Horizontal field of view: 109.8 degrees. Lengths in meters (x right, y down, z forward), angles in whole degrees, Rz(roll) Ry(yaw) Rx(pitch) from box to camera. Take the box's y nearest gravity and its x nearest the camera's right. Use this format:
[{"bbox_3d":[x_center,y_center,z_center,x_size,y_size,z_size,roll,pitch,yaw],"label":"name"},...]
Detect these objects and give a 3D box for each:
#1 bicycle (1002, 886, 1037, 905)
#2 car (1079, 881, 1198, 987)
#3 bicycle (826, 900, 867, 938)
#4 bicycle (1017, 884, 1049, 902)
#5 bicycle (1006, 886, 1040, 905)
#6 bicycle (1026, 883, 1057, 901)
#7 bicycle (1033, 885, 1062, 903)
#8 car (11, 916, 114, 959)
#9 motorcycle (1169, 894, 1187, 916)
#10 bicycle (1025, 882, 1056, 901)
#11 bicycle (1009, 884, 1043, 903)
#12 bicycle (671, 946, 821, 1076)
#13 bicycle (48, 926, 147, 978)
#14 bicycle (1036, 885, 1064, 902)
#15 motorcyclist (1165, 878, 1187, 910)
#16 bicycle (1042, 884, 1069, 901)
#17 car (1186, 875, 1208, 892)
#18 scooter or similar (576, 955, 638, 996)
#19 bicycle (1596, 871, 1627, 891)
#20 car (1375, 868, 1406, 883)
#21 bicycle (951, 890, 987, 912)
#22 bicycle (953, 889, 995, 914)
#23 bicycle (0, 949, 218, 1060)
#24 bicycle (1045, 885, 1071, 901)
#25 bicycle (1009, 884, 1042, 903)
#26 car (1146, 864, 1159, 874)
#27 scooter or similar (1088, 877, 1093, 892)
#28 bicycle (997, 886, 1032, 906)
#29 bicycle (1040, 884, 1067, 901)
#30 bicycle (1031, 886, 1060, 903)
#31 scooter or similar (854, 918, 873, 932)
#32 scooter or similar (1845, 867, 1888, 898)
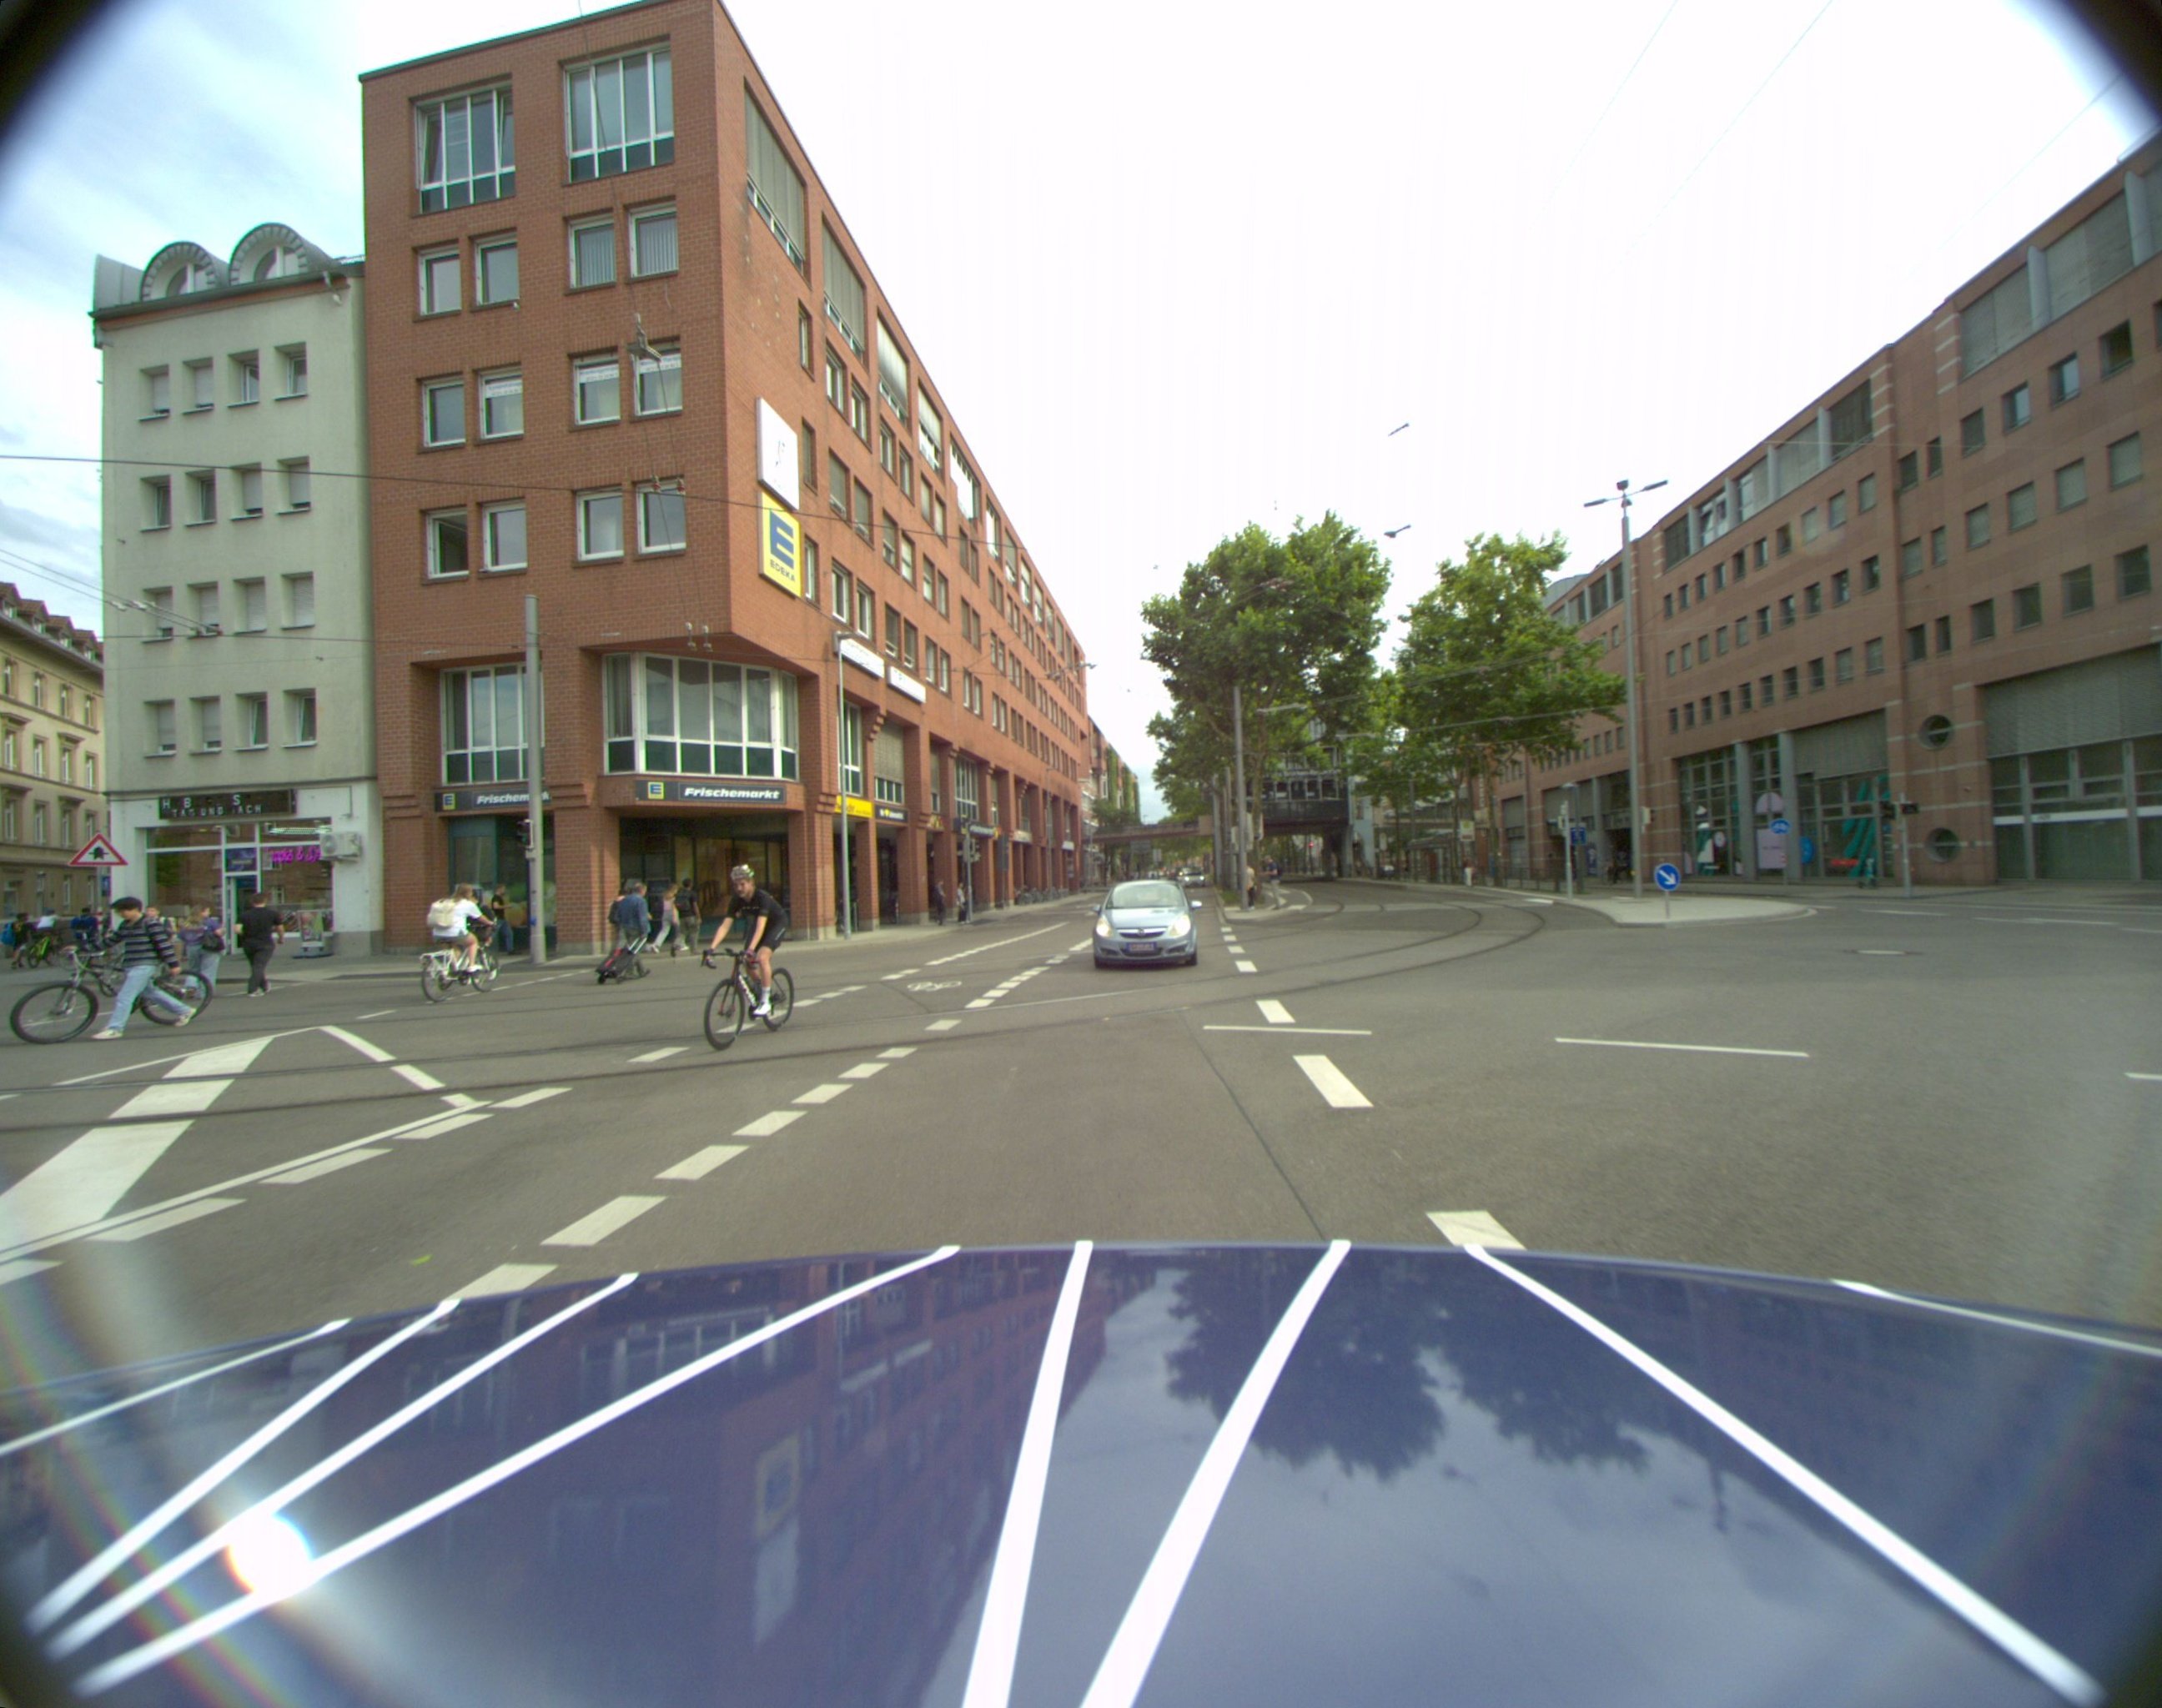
[{"bbox_3d":[-3.524,2.371,43.581,1.858,1.034,0.535,-2,-1,10],"label":"bicycle"},{"bbox_3d":[1.095,1.300,13.574,1.722,1.394,4.002,-4,-1,7],"label":"car"},{"bbox_3d":[-7.420,2.038,24.121,0.566,1.085,1.699,0,0,9],"label":"bicycle"},{"bbox_3d":[-2.985,2.402,46.913,1.858,1.105,0.535,-2,-1,10],"label":"bicycle"},{"bbox_3d":[-3.383,2.397,44.189,1.858,1.034,0.535,-2,-1,10],"label":"bicycle"},{"bbox_3d":[-2.534,2.412,48.337,1.858,1.105,0.535,-2,-1,10],"label":"bicycle"},{"bbox_3d":[-2.270,2.727,51.885,1.858,1.133,0.535,-2,-1,10],"label":"bicycle"},{"bbox_3d":[-44.271,3.579,33.127,1.699,1.576,3.651,-1,-2,-37],"label":"car"},{"bbox_3d":[4.640,2.433,36.492,0.570,0.962,2.015,-2,-2,1],"label":"motorcycle"},{"bbox_3d":[-2.559,2.368,47.803,1.858,1.105,0.535,-2,-1,10],"label":"bicycle"},{"bbox_3d":[-3.252,2.333,44.861,1.858,1.034,0.535,-2,-1,10],"label":"bicycle"},{"bbox_3d":[-3.309,1.510,7.679,0.488,0.994,1.749,-2,-2,9],"label":"bicycle"},{"bbox_3d":[-24.982,2.486,19.318,1.806,1.196,0.543,-2,-2,0],"label":"bicycle"},{"bbox_3d":[-2.136,2.715,52.569,1.858,1.133,0.535,-2,-1,10],"label":"bicycle"},{"bbox_3d":[4.536,1.917,36.403,0.872,1.507,1.044,-2,-2,0],"label":"motorcyclist"},{"bbox_3d":[-1.841,2.760,54.592,1.858,1.133,0.535,-2,-1,10],"label":"bicycle"},{"bbox_3d":[11.574,2.917,75.658,1.956,1.591,4.004,-2,-2,10],"label":"car"},{"bbox_3d":[-8.083,2.064,12.980,0.508,0.570,0.816,-2,-2,2],"label":"scooter or similar"},{"bbox_3d":[30.658,1.536,43.933,0.547,1.111,1.590,-2,-2,-3],"label":"bicycle"},{"bbox_3d":[30.849,2.130,75.815,1.866,1.463,4.300,-2,-2,9],"label":"car"},{"bbox_3d":[-5.744,2.388,38.938,1.868,1.077,0.484,1,-1,-41],"label":"bicycle"},{"bbox_3d":[-4.961,2.196,35.200,1.868,1.077,0.628,1,-1,-41],"label":"bicycle"},{"bbox_3d":[-12.327,1.850,9.670,0.397,1.103,1.832,-2,-2,10],"label":"bicycle"},{"bbox_3d":[-1.678,2.819,55.469,1.858,1.133,0.535,-2,-1,10],"label":"bicycle"},{"bbox_3d":[-3.350,2.378,45.961,1.858,1.105,0.535,-2,-1,10],"label":"bicycle"},{"bbox_3d":[12.409,2.554,132.017,1.956,1.591,4.004,-2,-2,10],"label":"car"},{"bbox_3d":[0.801,2.651,66.024,0.272,1.250,0.922,-2,-2,10],"label":"scooter or similar"},{"bbox_3d":[-3.748,2.357,42.901,1.858,1.034,0.508,-2,-2,10],"label":"bicycle"},{"bbox_3d":[-1.955,2.735,53.968,1.858,1.133,0.535,-2,-1,10],"label":"bicycle"},{"bbox_3d":[-2.404,2.723,51.168,1.858,1.133,0.535,-2,-1,10],"label":"bicycle"},{"bbox_3d":[-7.322,2.390,25.591,0.263,0.416,0.892,-2,-2,8],"label":"scooter or similar"},{"bbox_3d":[29.495,1.049,28.551,0.520,1.126,1.113,-2,-2,10],"label":"scooter or similar"}]
